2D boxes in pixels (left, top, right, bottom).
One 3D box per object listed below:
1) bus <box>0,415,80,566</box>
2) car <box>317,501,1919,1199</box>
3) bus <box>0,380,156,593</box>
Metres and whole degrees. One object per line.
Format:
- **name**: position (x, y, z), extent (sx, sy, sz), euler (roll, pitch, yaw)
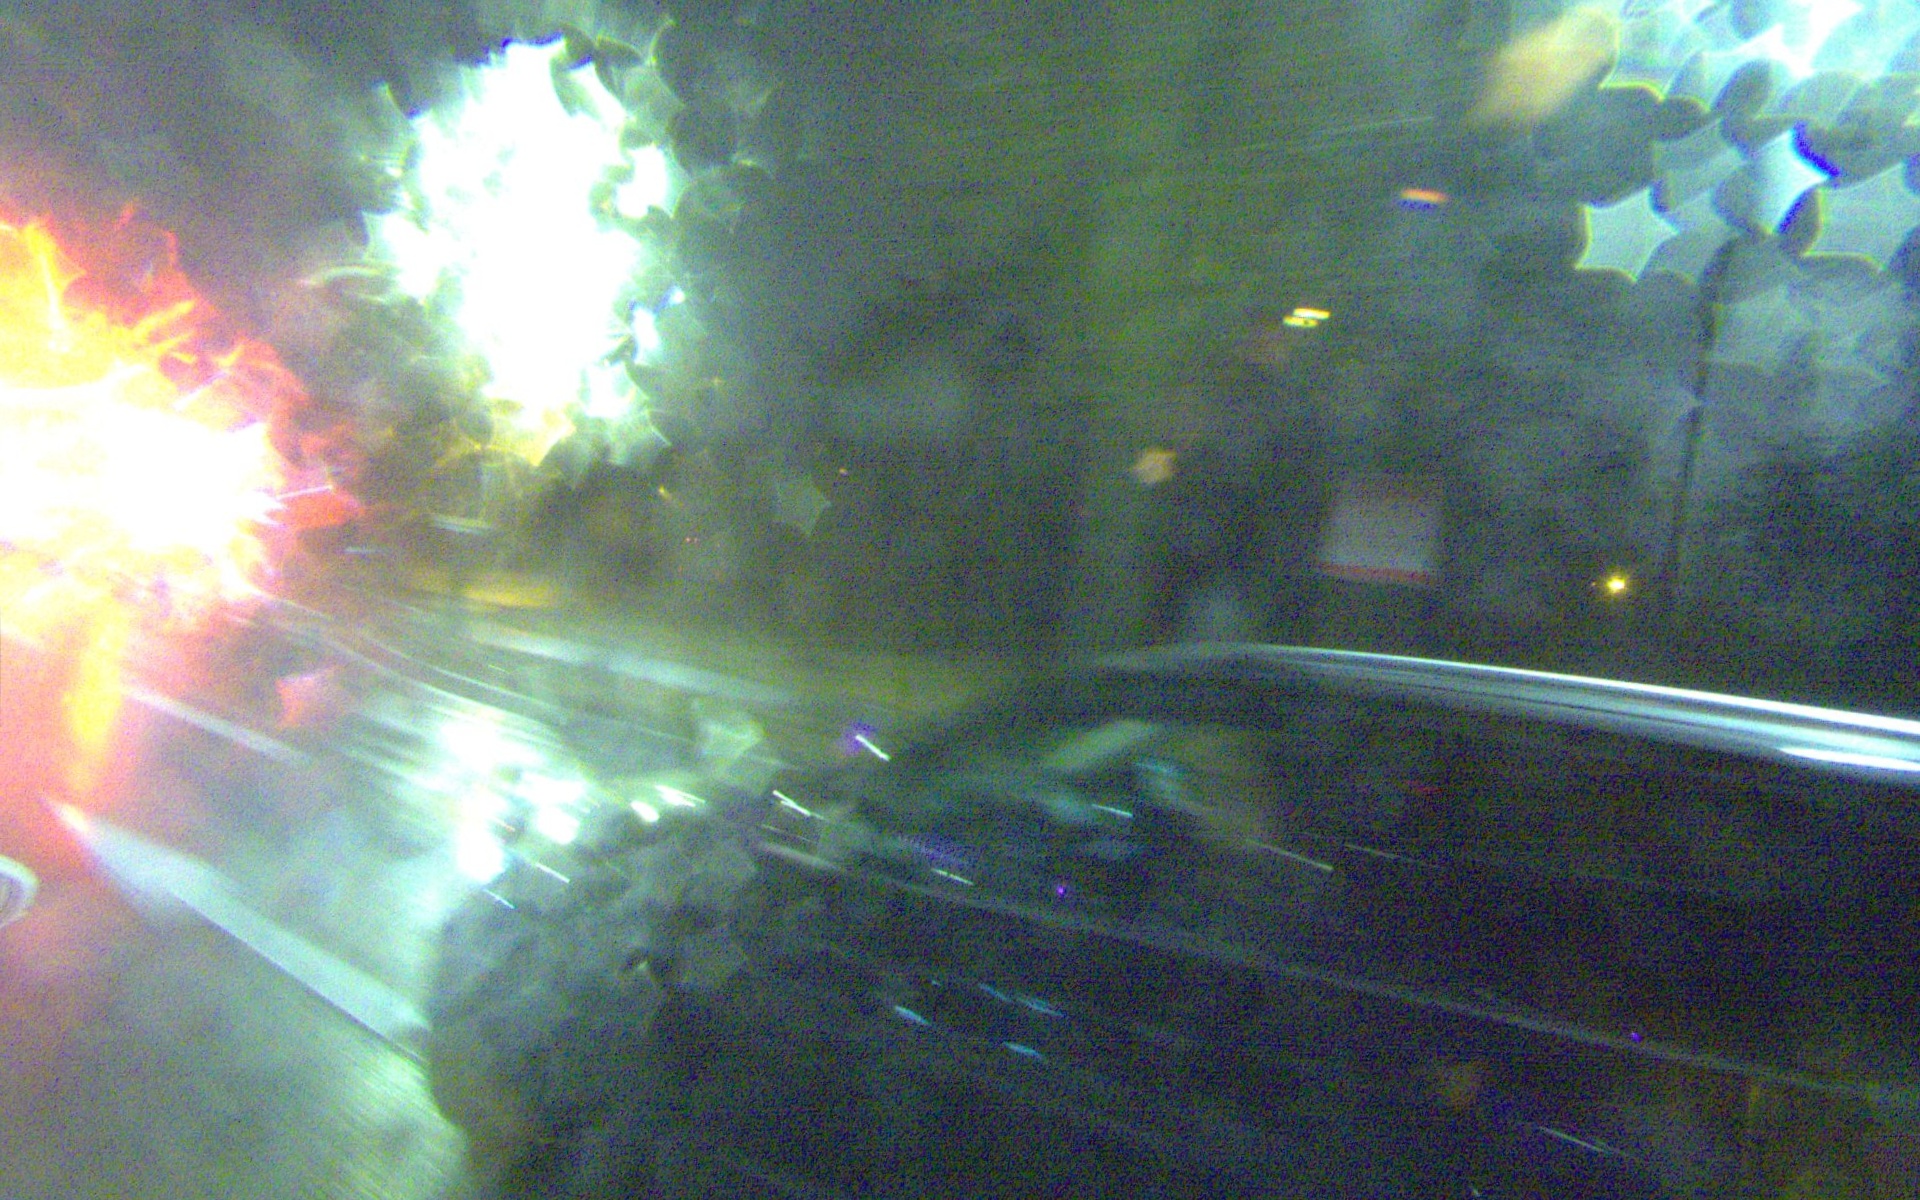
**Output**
- **bus**: position (-25.308, -2.942, 25.678), extent (8.925, 3.251, 3.039), euler (6, -1, 42)
- **car**: position (0.796, 0.847, 2.240), extent (3.931, 1.542, 1.999), euler (7, -2, 29)
- **bus**: position (-18.725, -2.256, 19.681), extent (8.925, 3.251, 3.039), euler (6, -1, 42)
